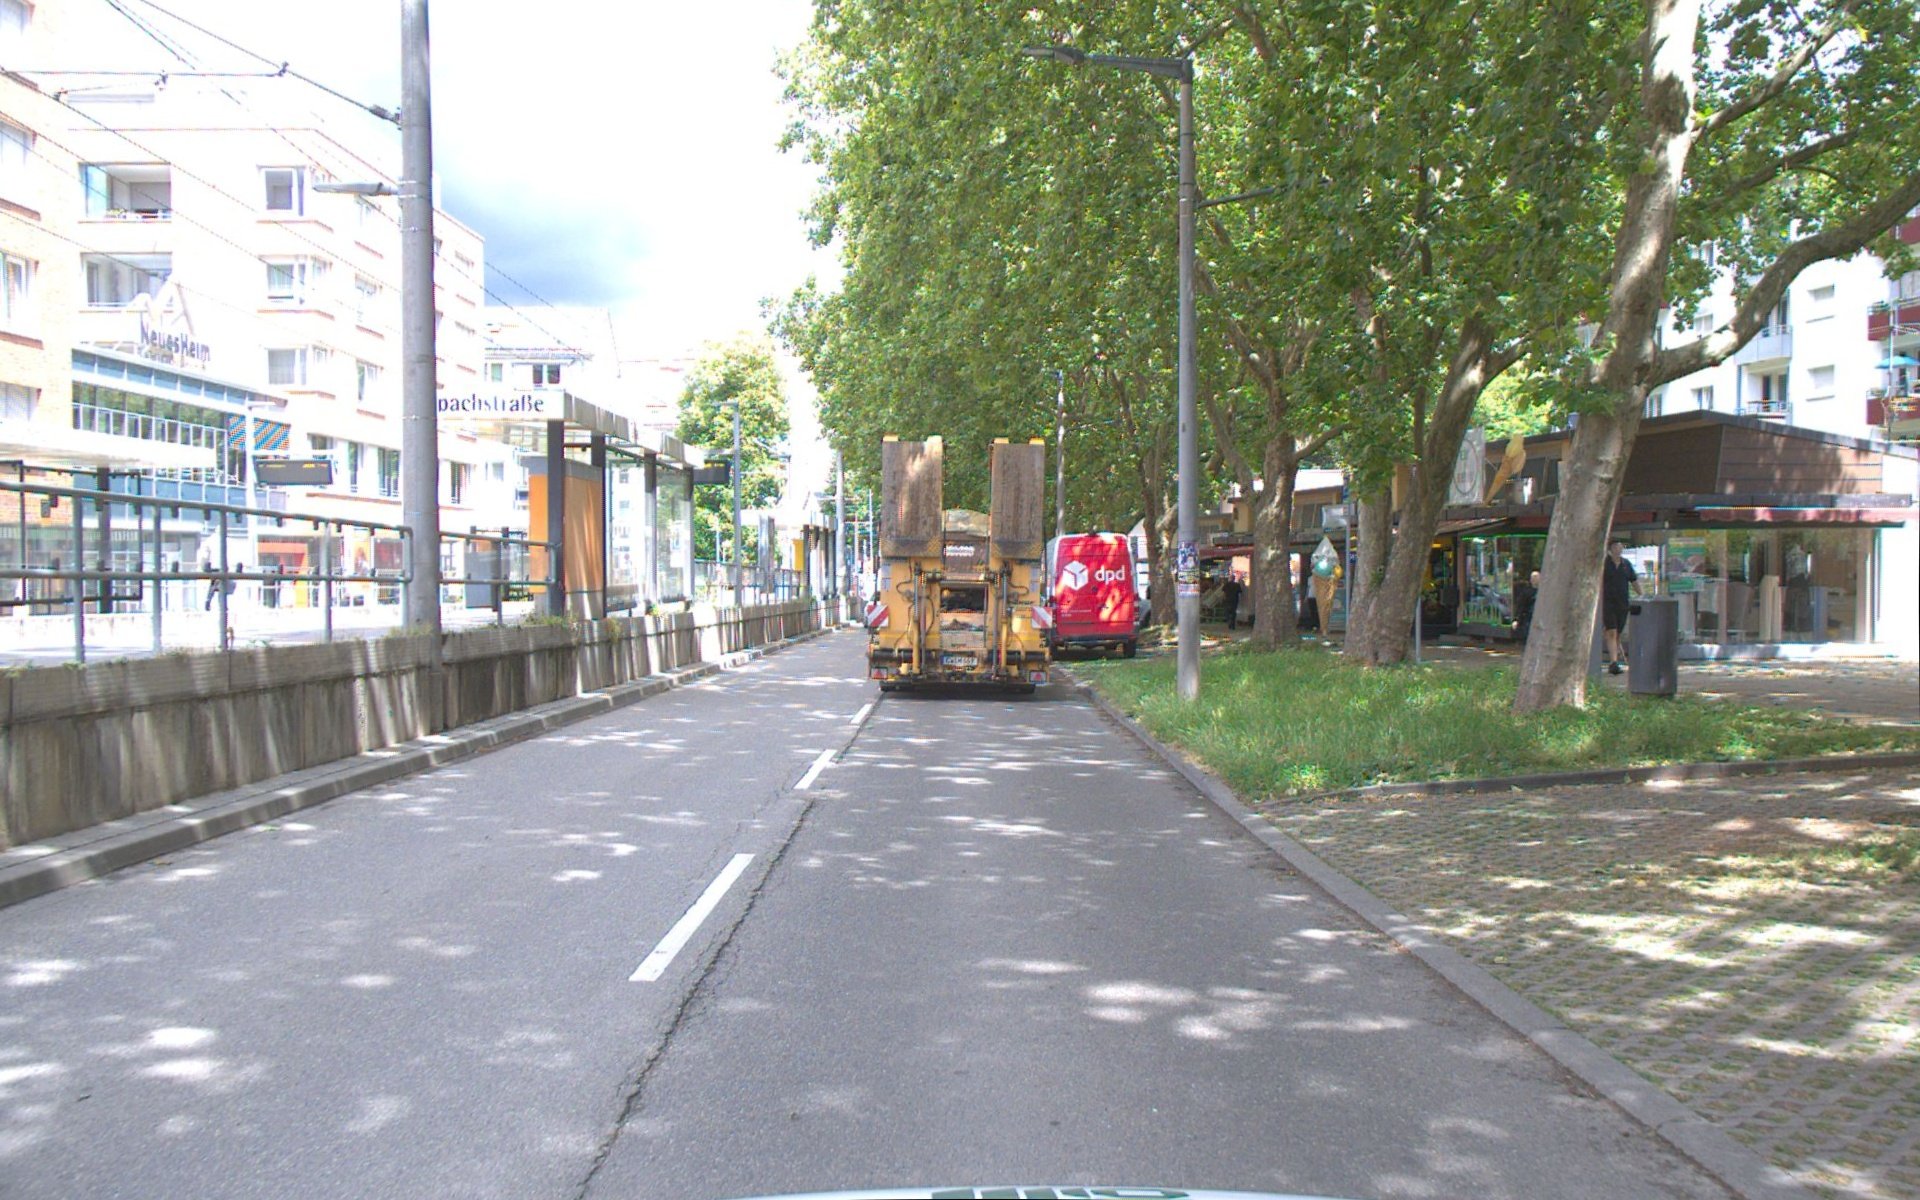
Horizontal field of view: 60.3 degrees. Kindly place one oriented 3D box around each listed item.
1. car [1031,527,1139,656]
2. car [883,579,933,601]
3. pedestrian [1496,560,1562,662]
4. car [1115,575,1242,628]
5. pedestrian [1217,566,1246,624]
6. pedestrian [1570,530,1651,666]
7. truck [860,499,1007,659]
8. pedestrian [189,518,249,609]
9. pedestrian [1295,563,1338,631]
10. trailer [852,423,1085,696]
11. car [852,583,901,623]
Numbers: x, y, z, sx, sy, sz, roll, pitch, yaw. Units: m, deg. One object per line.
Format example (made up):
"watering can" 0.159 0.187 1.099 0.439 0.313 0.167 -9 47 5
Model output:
"car" 2.739 -0.191 37.675 1.865 2.626 6.833 -2 0 0
"car" -5.596 -1.075 176.974 5.003 2.139 1.969 1 0 -14
"pedestrian" 8.416 0.160 24.484 0.612 1.473 1.028 0 0 0
"car" 7.031 0.031 53.284 3.756 1.589 1.617 -1 0 -7
"pedestrian" 8.469 -0.160 51.617 0.744 1.755 0.658 -1 0 -4
"pedestrian" 9.451 -0.027 24.077 0.728 1.916 0.941 -2 0 -1
"truck" -0.727 -0.435 37.242 2.930 3.190 7.883 1 0 -3
"pedestrian" -13.731 -0.669 30.667 0.736 1.657 0.816 1 0 0
"pedestrian" 9.703 -0.083 45.019 0.910 1.832 0.602 -2 -1 44
"trailer" -0.191 -0.569 27.773 3.091 3.614 11.089 1 0 -3
"car" -3.064 0.107 61.208 1.697 1.420 3.750 1 0 -2
